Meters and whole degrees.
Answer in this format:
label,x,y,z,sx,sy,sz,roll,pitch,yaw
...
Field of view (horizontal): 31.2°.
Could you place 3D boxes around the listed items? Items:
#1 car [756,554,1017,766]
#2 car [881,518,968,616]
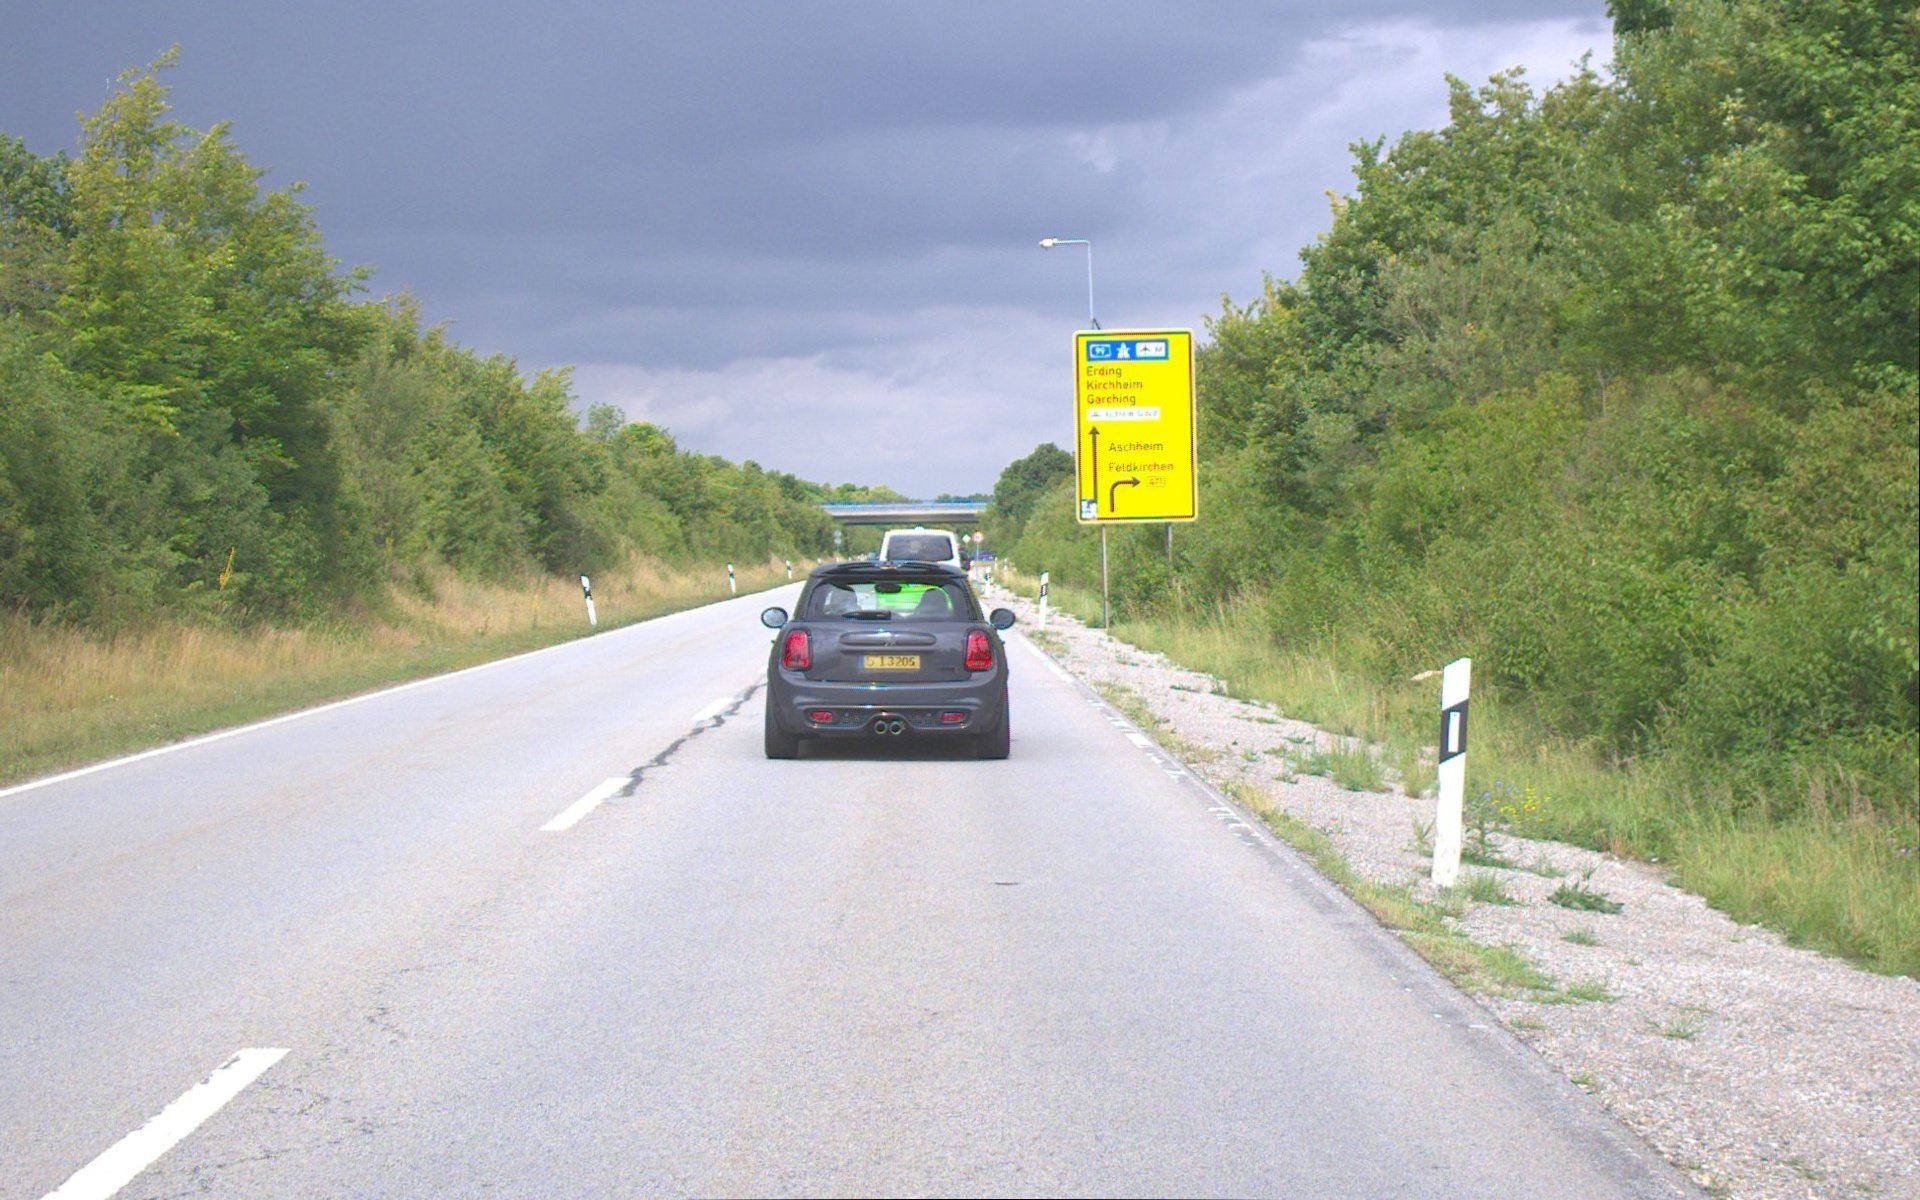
label,x,y,z,sx,sy,sz,roll,pitch,yaw
car,-0.529,0.387,25.447,1.756,1.422,4.000,1,1,-1
car,-0.782,-0.732,74.950,1.819,2.047,4.000,1,1,-1
